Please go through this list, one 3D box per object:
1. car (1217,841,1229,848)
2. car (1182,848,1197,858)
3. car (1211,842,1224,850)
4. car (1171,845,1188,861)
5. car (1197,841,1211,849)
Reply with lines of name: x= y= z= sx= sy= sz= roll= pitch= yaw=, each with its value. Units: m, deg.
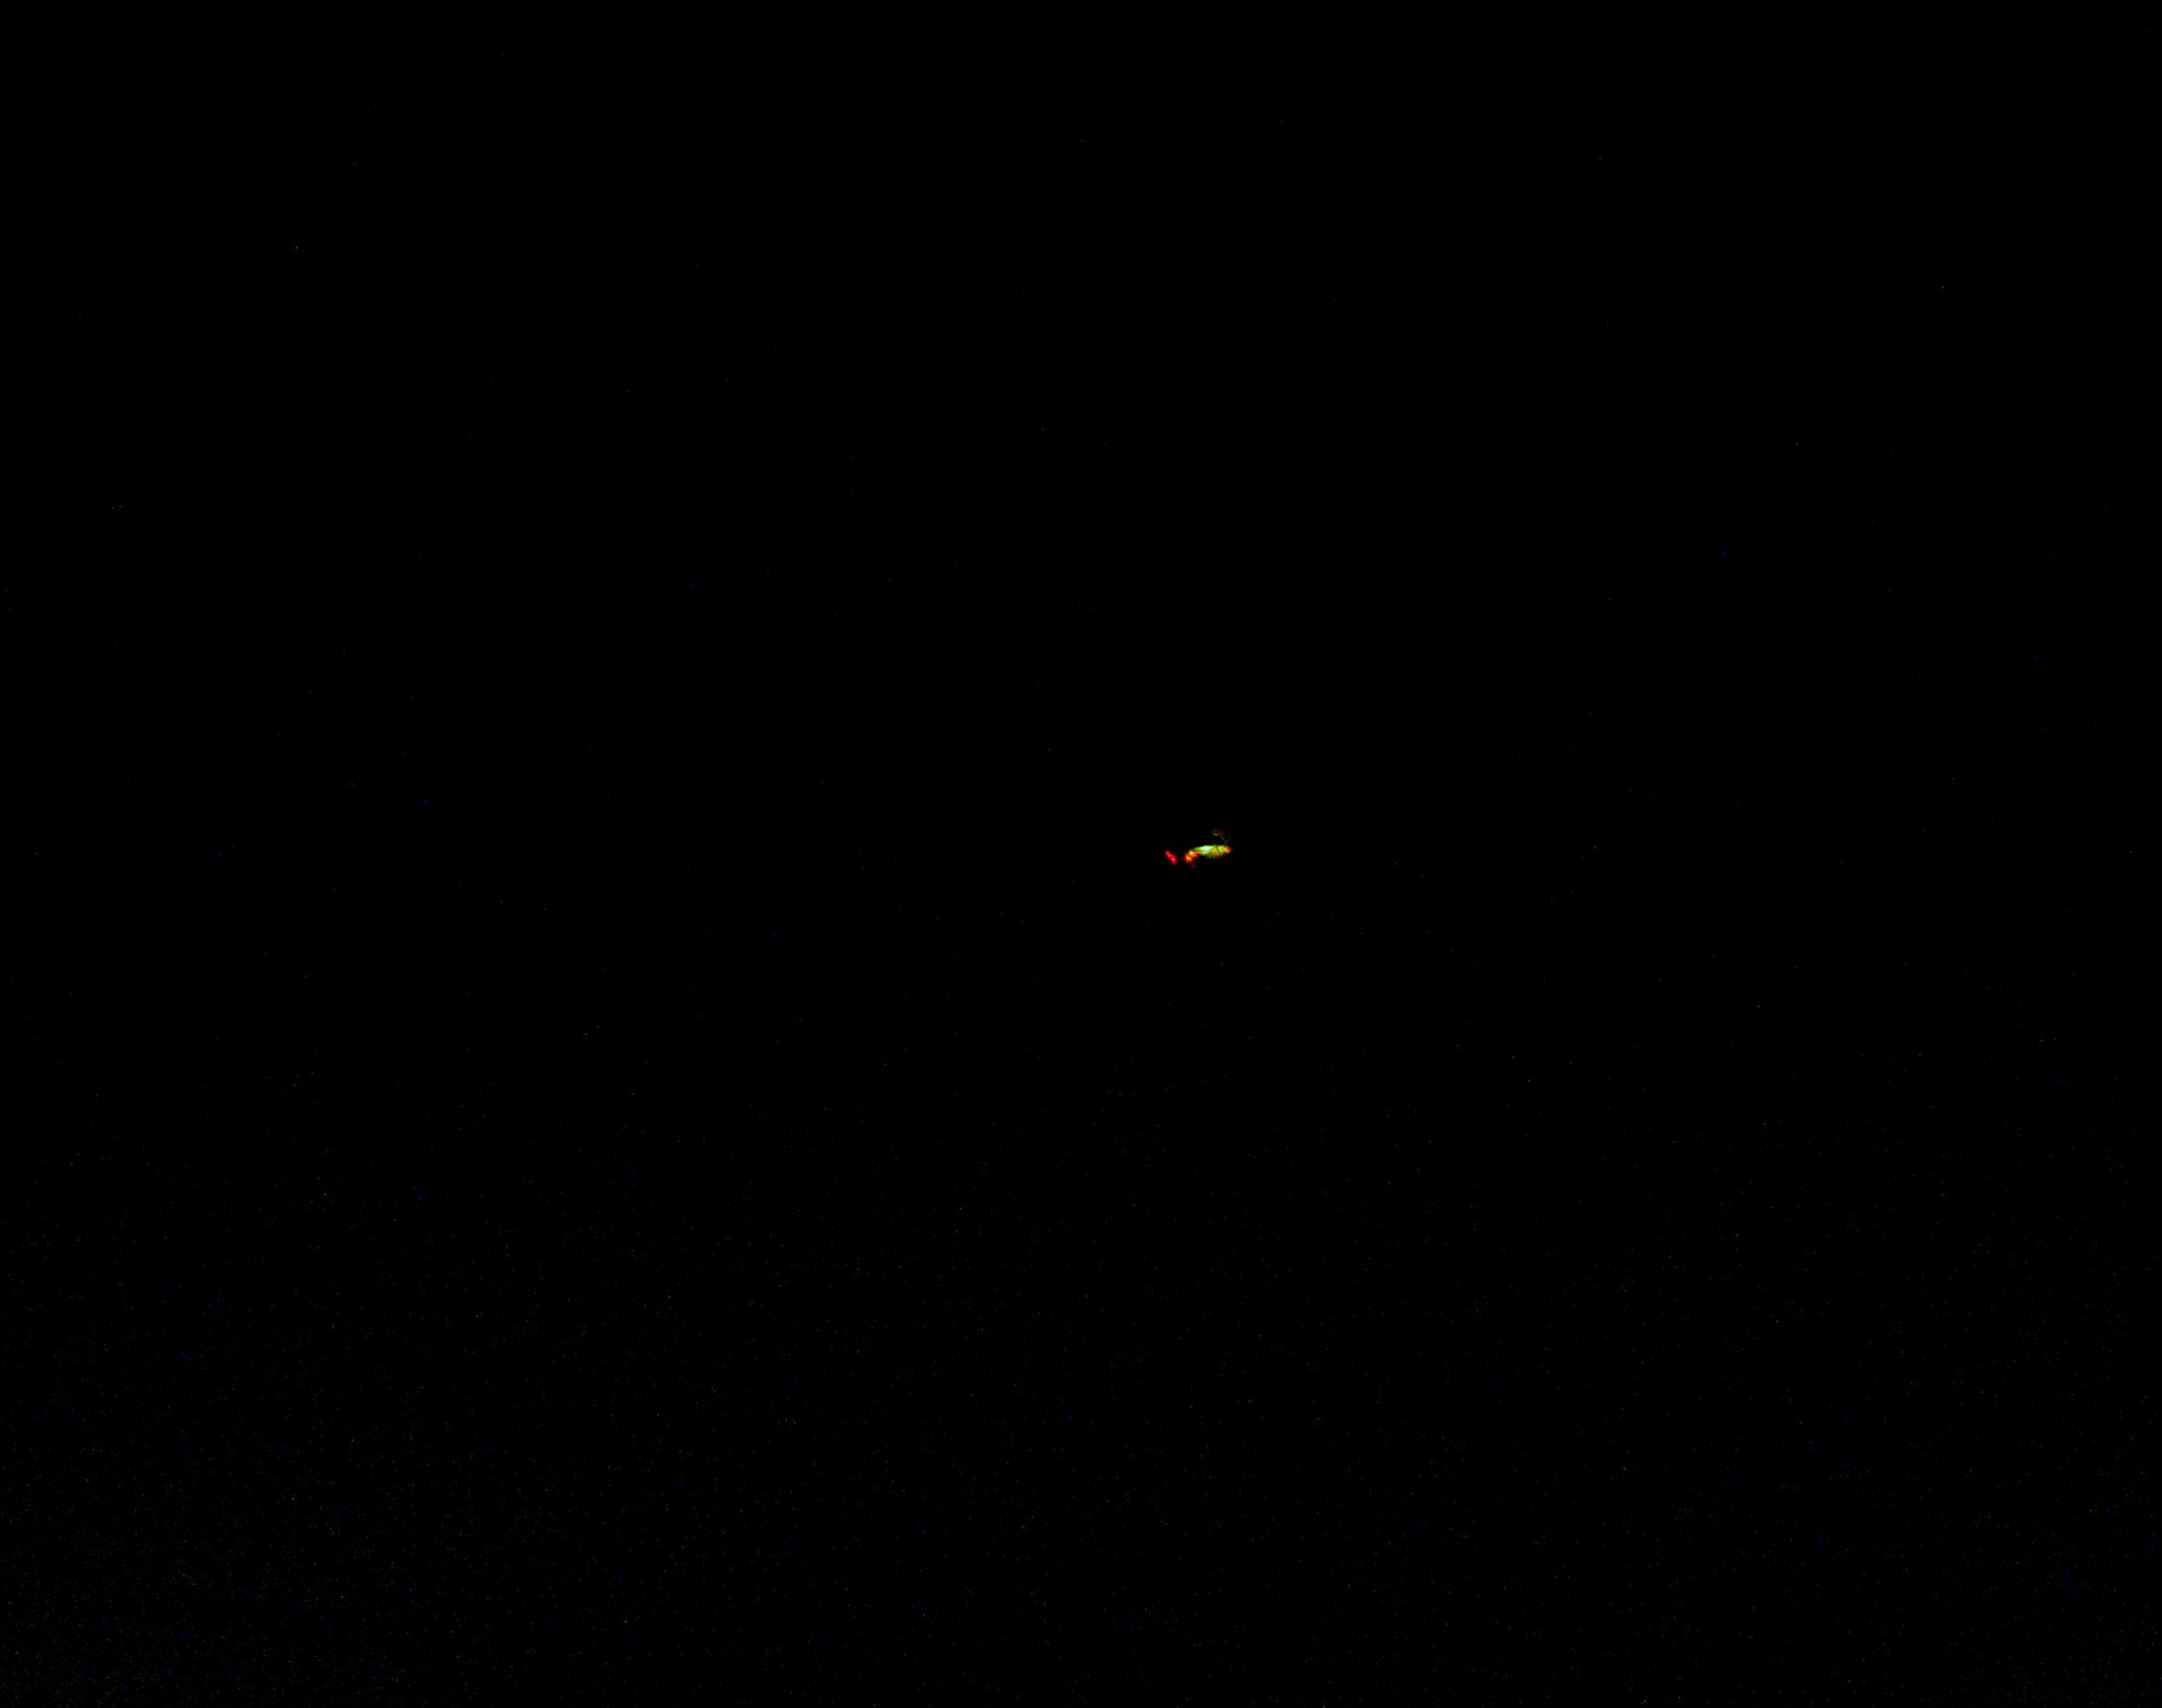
car: x=29.427 y=-1.916 z=157.306 sx=1.773 sy=1.381 sz=4.117 roll=-1 pitch=1 yaw=19
car: x=16.520 y=-0.099 z=115.158 sx=1.774 sy=1.381 sz=4.039 roll=-1 pitch=1 yaw=15
car: x=26.765 y=-1.529 z=148.712 sx=1.773 sy=1.381 sz=4.237 roll=-1 pitch=1 yaw=19
car: x=11.876 y=-0.160 z=91.291 sx=1.863 sy=1.737 sz=4.964 roll=-2 pitch=1 yaw=8
car: x=21.519 y=-1.578 z=132.994 sx=1.773 sy=1.381 sz=4.237 roll=-1 pitch=1 yaw=18
